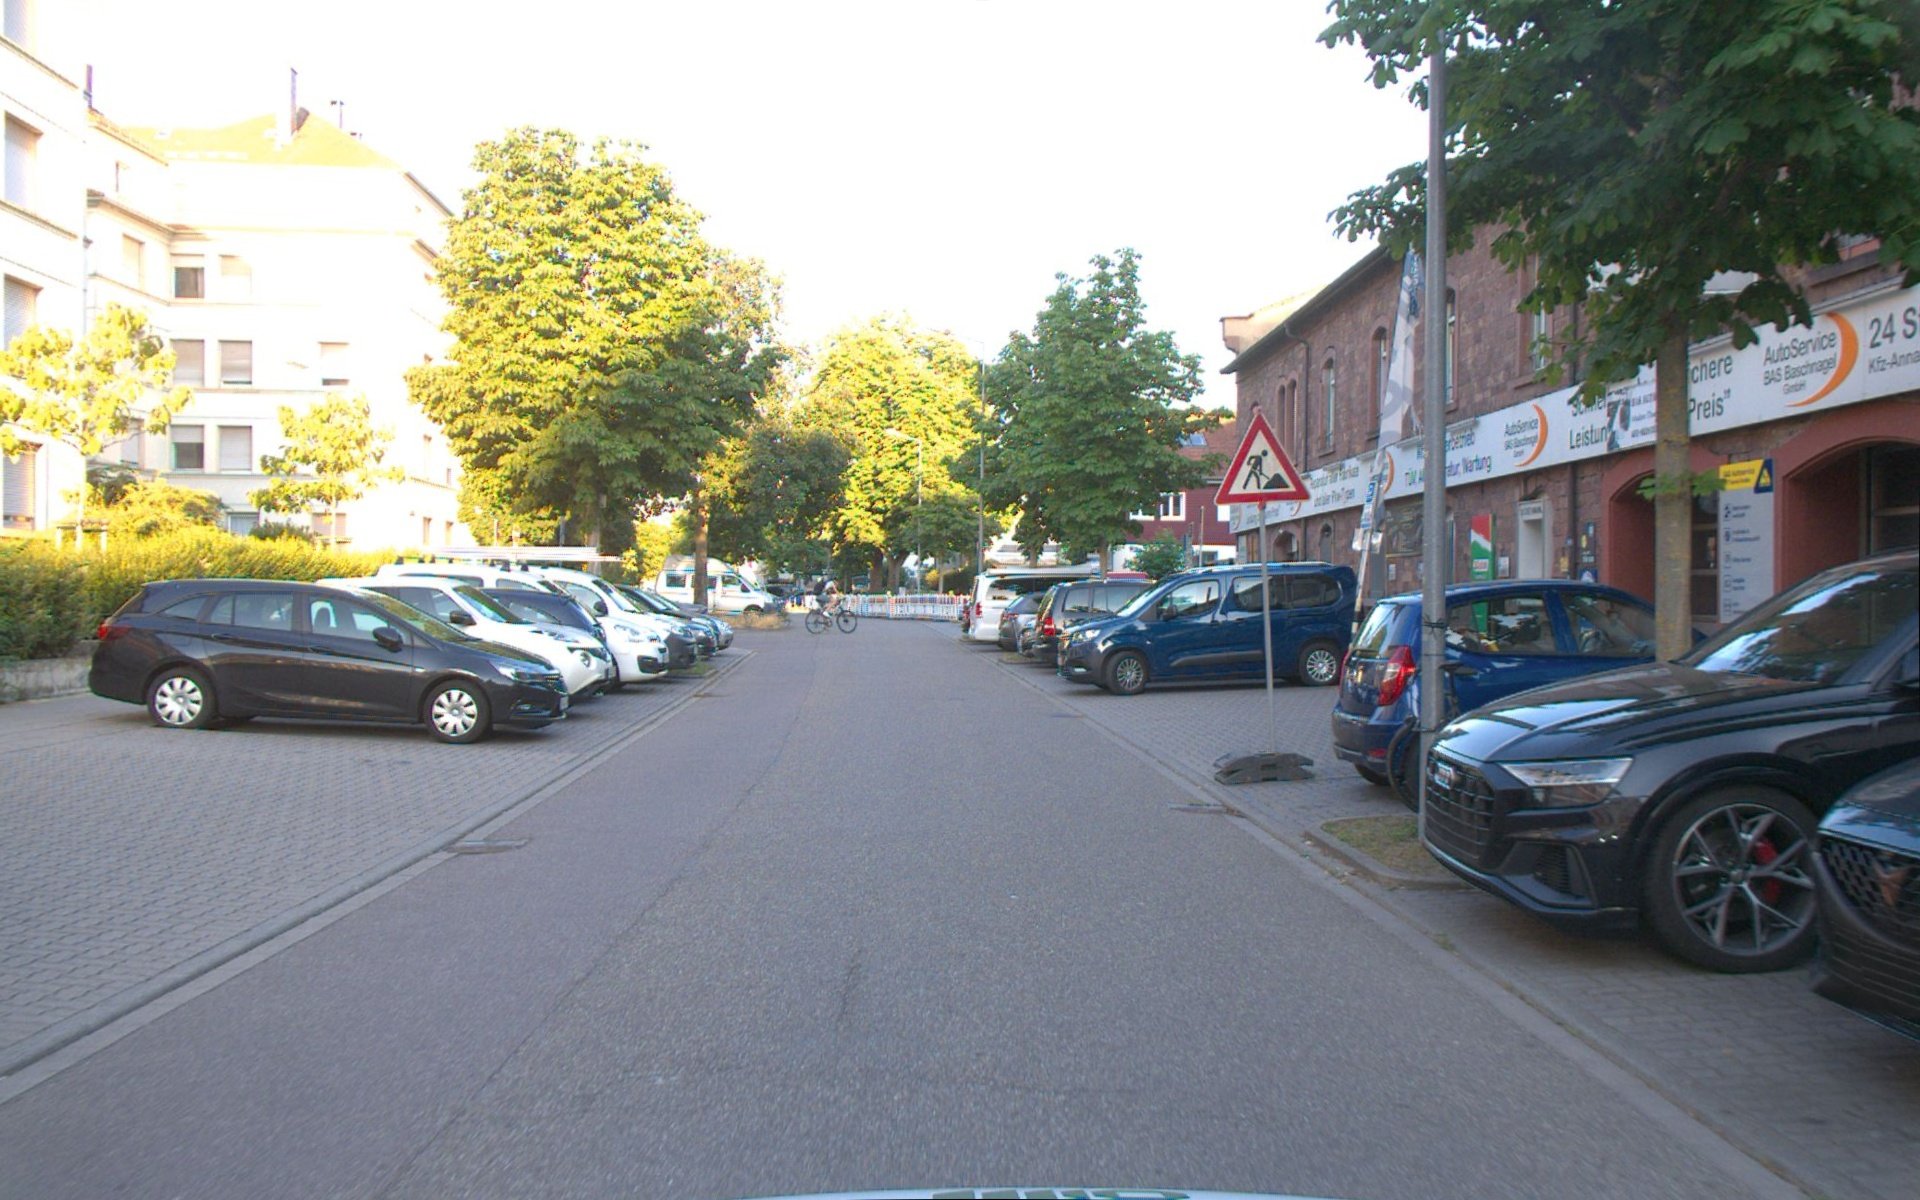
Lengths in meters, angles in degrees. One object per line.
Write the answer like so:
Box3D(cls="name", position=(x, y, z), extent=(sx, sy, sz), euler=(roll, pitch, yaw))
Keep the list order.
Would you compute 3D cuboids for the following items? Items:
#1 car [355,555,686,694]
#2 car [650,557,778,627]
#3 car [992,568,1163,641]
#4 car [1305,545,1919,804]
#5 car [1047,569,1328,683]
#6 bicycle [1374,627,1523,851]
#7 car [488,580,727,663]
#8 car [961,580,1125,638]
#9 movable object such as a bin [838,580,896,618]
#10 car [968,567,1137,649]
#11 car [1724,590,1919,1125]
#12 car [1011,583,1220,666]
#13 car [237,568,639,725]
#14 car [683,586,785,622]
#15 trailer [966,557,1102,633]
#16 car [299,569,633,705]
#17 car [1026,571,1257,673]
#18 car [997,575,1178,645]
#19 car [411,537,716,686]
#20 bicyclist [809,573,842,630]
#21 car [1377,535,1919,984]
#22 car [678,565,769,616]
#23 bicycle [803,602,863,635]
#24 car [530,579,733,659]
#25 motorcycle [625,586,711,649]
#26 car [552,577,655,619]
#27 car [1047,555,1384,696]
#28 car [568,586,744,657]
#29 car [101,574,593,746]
Box3D(cls="car", position=(-6.419, 0.337, 24.518), extent=(4.331, 1.833, 1.943), euler=(2, 0, -1))
Box3D(cls="car", position=(-9.349, -0.297, 63.182), extent=(4.636, 2.614, 1.999), euler=(0, 0, -2))
Box3D(cls="car", position=(3.006, 0.107, 42.888), extent=(4.215, 1.831, 1.903), euler=(0, 0, -4))
Box3D(cls="car", position=(4.823, 0.517, 12.569), extent=(3.908, 1.572, 1.844), euler=(-4, 0, -3))
Box3D(cls="car", position=(3.777, 0.406, 27.926), extent=(4.328, 1.602, 1.980), euler=(-3, 1, -4))
Box3D(cls="bicycle", position=(2.948, 0.792, 10.114), extent=(0.302, 1.213, 1.761), euler=(0, 0, -3))
Box3D(cls="car", position=(-6.829, 0.411, 32.379), extent=(4.239, 1.430, 1.851), euler=(2, 0, -2))
Box3D(cls="car", position=(2.235, 0.231, 45.253), extent=(4.339, 1.525, 1.772), euler=(0, 0, -4))
Box3D(cls="movable object such as a bin", position=(-6.122, -0.058, 107.917), extent=(2.587, 2.445, 5.172), euler=(0, 0, -18))
Box3D(cls="car", position=(2.219, 0.189, 40.455), extent=(3.908, 1.937, 1.998), euler=(0, 0, -4))
Box3D(cls="car", position=(4.707, 0.641, 4.939), extent=(3.906, 1.522, 1.892), euler=(-4, 0, -1))
Box3D(cls="car", position=(3.063, 0.486, 32.996), extent=(3.870, 1.592, 1.818), euler=(0, 0, -7))
Box3D(cls="car", position=(-6.072, 0.519, 19.633), extent=(4.158, 1.649, 1.812), euler=(2, 1, -2))
Box3D(cls="car", position=(-9.470, 0.159, 69.568), extent=(4.161, 1.418, 1.682), euler=(1, 0, -5))
Box3D(cls="trailer", position=(2.191, -0.156, 49.889), extent=(3.908, 2.226, 1.999), euler=(0, 0, -4))
Box3D(cls="car", position=(-6.527, 0.476, 22.186), extent=(3.909, 1.510, 1.754), euler=(4, 0, -4))
Box3D(cls="car", position=(3.302, 0.385, 30.593), extent=(3.909, 1.647, 1.893), euler=(-3, 0, -4))
Box3D(cls="car", position=(2.858, 0.220, 37.602), extent=(3.908, 1.536, 1.775), euler=(0, 0, -4))
Box3D(cls="car", position=(-6.444, 0.160, 27.248), extent=(4.420, 2.106, 2.000), euler=(3, 1, 0))
Box3D(cls="bicyclist", position=(-4.178, 0.047, 51.250), extent=(0.825, 1.756, 0.796), euler=(0, 0, -21))
Box3D(cls="car", position=(4.499, 0.535, 7.575), extent=(4.600, 1.659, 2.000), euler=(-4, 0, -1))
Box3D(cls="car", position=(-11.789, -0.448, 82.325), extent=(4.421, 2.473, 1.995), euler=(0, 0, -11))
Box3D(cls="bicycle", position=(-3.941, 0.585, 51.329), extent=(1.832, 1.015, 0.371), euler=(0, 0, -22))
Box3D(cls="car", position=(-6.845, 0.388, 34.738), extent=(3.906, 1.611, 1.728), euler=(0, 0, -2))
Box3D(cls="motorcycle", position=(-6.829, 0.416, 38.789), extent=(1.948, 1.461, 0.720), euler=(0, 0, -8))
Box3D(cls="car", position=(-16.540, -0.076, 76.901), extent=(4.589, 1.906, 1.995), euler=(0, 0, -11))
Box3D(cls="car", position=(3.812, 0.339, 25.191), extent=(4.692, 1.784, 2.016), euler=(-3, 1, -4))
Box3D(cls="car", position=(-6.782, 0.478, 37.160), extent=(3.638, 1.532, 1.689), euler=(0, 0, -2))
Box3D(cls="car", position=(-6.140, 0.589, 16.998), extent=(4.322, 1.477, 1.826), euler=(3, 0, -5))
